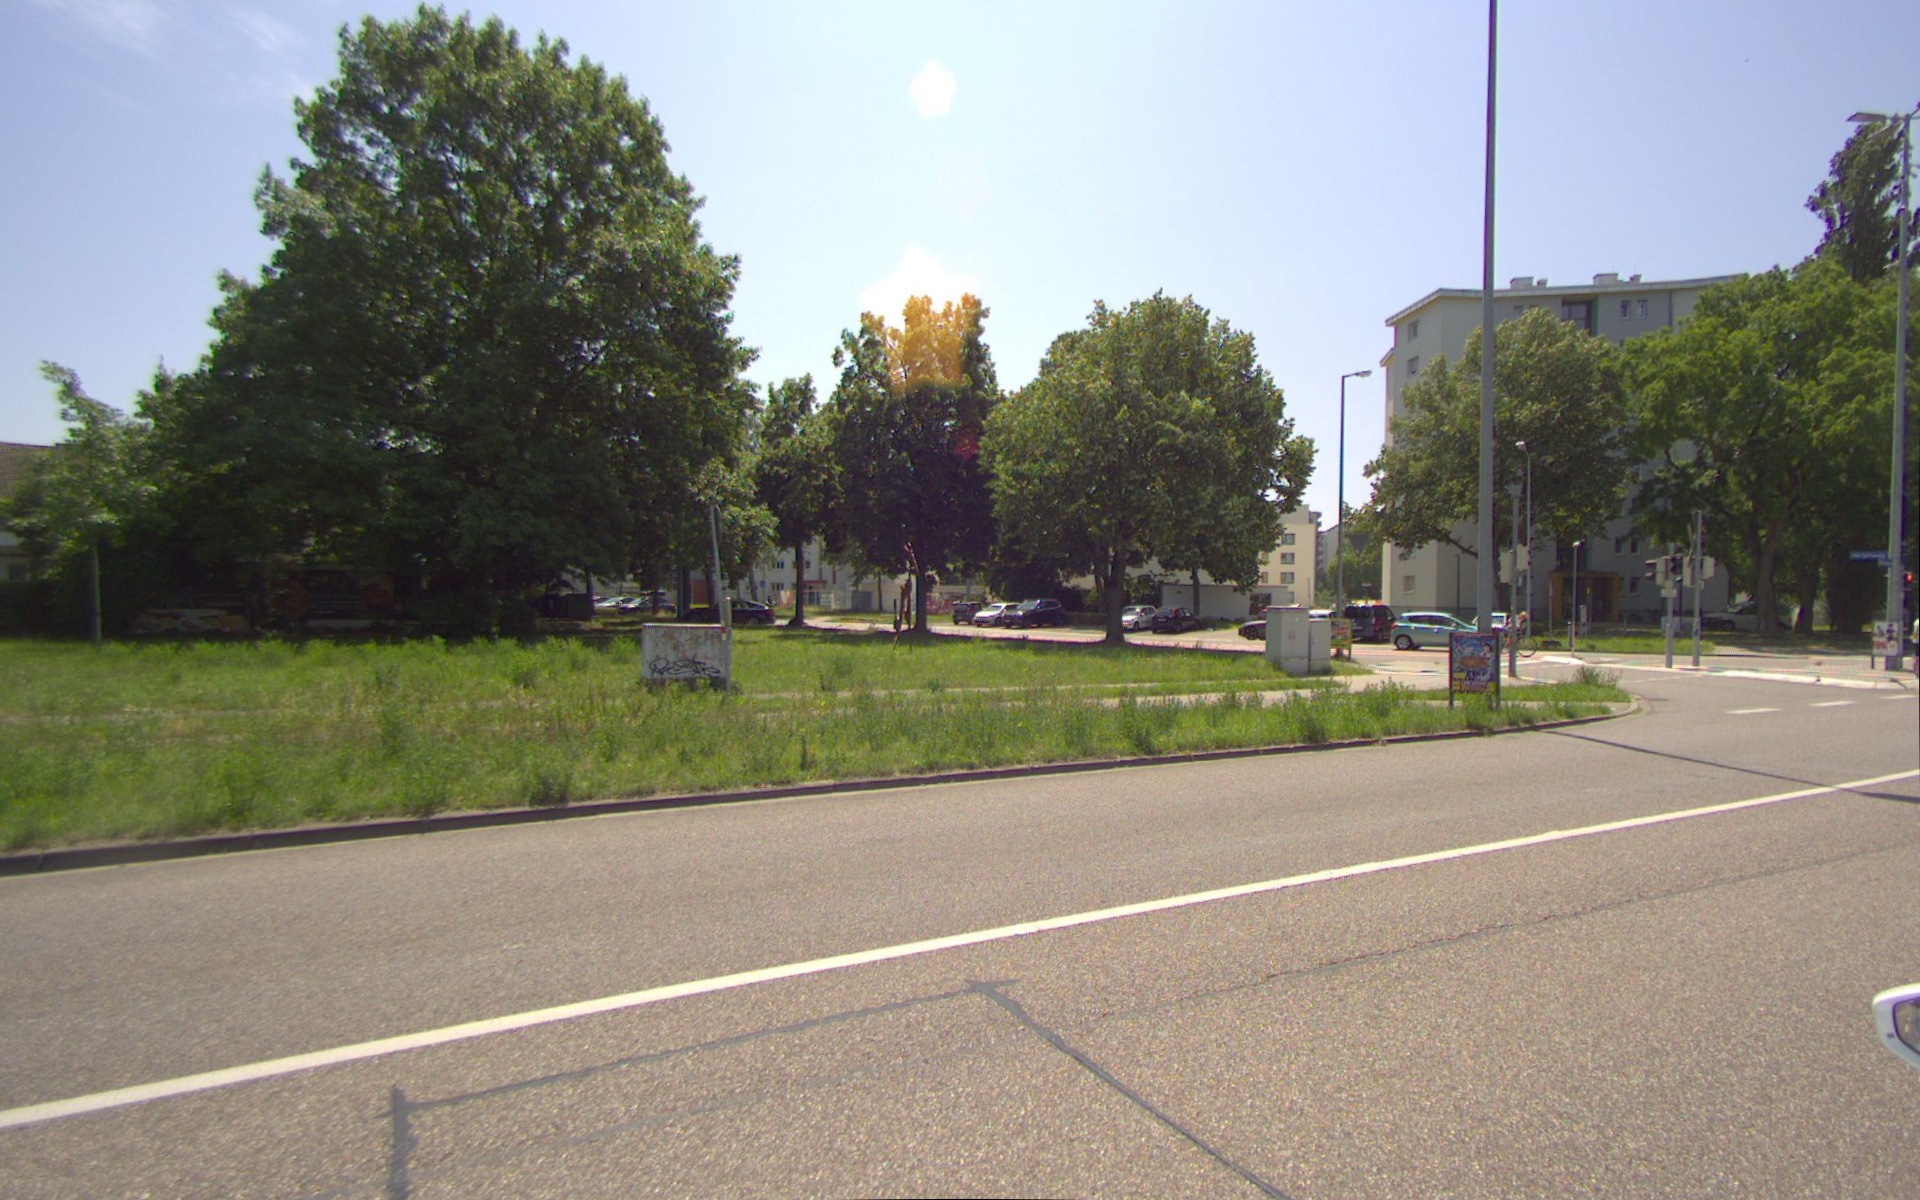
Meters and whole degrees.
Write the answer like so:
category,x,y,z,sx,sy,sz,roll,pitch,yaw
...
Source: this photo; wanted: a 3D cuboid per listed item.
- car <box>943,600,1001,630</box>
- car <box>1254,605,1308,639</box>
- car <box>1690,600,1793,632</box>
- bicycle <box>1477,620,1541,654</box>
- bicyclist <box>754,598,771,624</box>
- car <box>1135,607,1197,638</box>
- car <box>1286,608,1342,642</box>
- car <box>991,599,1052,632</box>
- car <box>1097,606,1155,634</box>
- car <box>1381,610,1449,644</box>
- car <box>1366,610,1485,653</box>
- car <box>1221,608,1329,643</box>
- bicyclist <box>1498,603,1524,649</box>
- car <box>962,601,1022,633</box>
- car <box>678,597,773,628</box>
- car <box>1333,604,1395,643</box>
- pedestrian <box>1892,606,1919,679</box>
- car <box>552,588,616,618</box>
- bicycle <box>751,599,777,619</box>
category,x,y,z,sx,sy,sz,roll,pitch,yaw
car,0.815,0.987,68.122,1.824,1.974,3.981,2,1,40
car,17.286,1.162,54.004,1.820,1.690,3.990,1,0,32
car,45.997,0.917,59.202,4.456,1.791,1.792,1,0,13
bicycle,18.891,1.258,34.606,1.842,1.108,0.643,1,0,41
bicyclist,-13.010,0.723,66.135,0.767,1.715,0.887,0,0,-41
car,11.843,1.270,57.611,1.824,1.734,3.981,-1,-1,40
car,18.268,1.241,51.724,1.682,1.613,3.986,2,1,35
car,3.918,0.930,63.271,1.824,1.974,3.981,2,1,40
car,9.813,1.171,59.180,1.668,1.583,3.819,1,0,40
car,22.002,1.266,48.502,3.972,1.483,1.602,0,2,-44
car,17.871,1.186,38.649,3.837,1.488,1.768,1,1,39
car,15.005,1.198,47.967,4.566,1.519,1.901,1,0,44
bicyclist,18.964,0.886,34.545,0.656,1.557,0.628,1,1,40
car,2.117,1.049,65.251,1.824,1.974,3.981,2,1,40
car,-11.722,0.601,50.439,4.501,1.487,1.996,0,0,-10
car,20.195,1.134,50.134,1.684,1.825,3.981,2,1,40
pedestrian,22.432,0.994,23.802,0.480,1.710,0.380,0,1,-31
car,-27.946,0.218,74.653,1.971,2.041,3.978,5,4,42
bicycle,-12.909,0.587,66.030,0.767,1.317,2.037,0,0,-40
